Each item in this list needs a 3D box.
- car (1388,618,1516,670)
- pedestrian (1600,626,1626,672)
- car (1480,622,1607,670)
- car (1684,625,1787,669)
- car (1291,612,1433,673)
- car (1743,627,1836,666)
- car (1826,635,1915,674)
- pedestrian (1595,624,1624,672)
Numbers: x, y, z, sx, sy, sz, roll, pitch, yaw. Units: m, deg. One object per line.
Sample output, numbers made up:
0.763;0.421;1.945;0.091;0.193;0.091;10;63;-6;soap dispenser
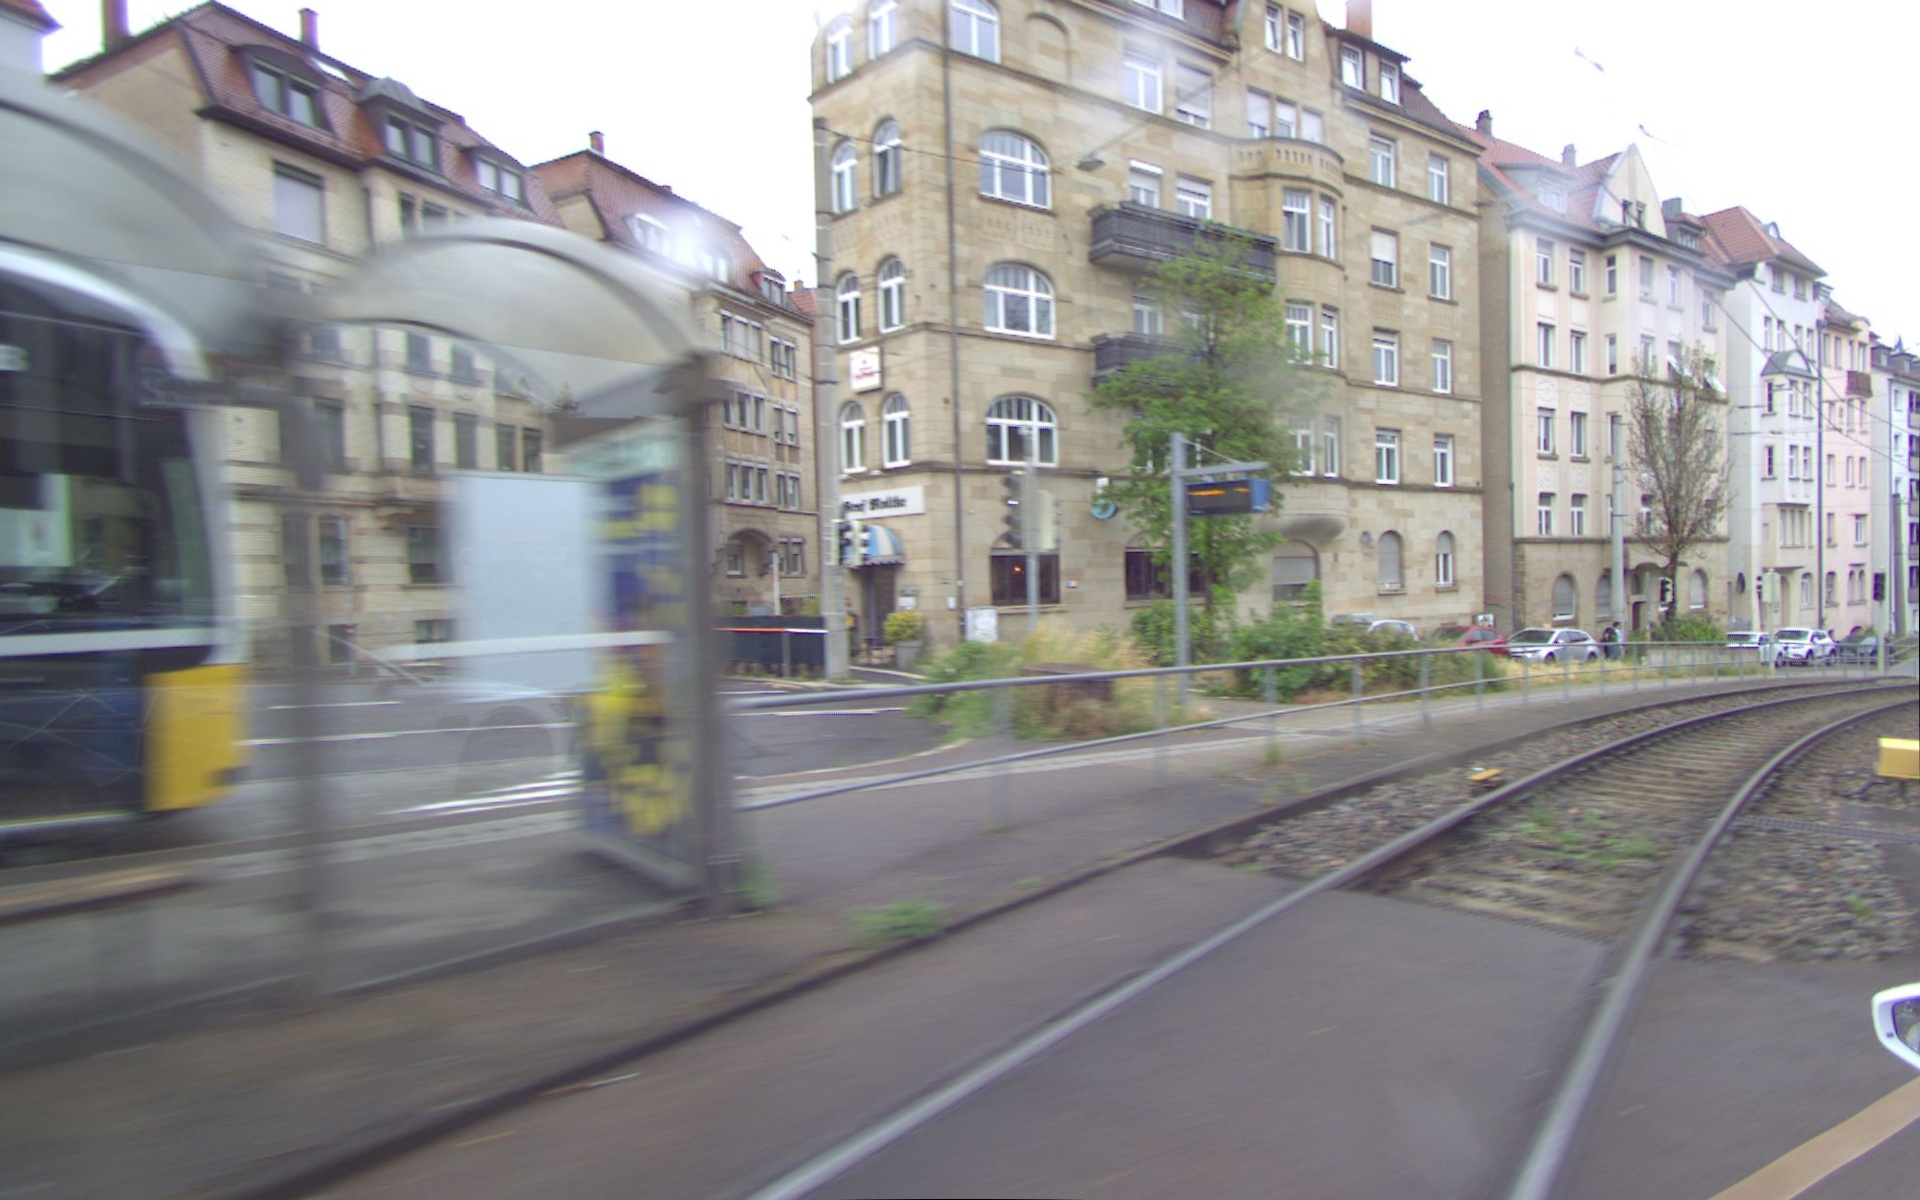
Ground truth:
15.015;1.337;30.597;4.130;1.461;1.621;2;-1;-33;car
22.662;1.702;34.845;0.614;1.552;0.517;2;-1;-32;pedestrian
19.245;1.502;33.063;4.818;1.461;1.706;2;-1;-34;car
32.524;1.988;42.095;4.484;1.553;1.982;4;0;-33;car
11.267;1.181;28.071;4.130;1.568;1.621;2;-1;-33;car
37.227;2.067;45.078;4.485;1.644;1.913;2;-2;-32;car
44.887;2.691;49.512;4.759;1.754;1.984;3;-2;-31;car
22.182;1.638;34.299;0.614;1.614;0.622;2;-1;-32;pedestrian
